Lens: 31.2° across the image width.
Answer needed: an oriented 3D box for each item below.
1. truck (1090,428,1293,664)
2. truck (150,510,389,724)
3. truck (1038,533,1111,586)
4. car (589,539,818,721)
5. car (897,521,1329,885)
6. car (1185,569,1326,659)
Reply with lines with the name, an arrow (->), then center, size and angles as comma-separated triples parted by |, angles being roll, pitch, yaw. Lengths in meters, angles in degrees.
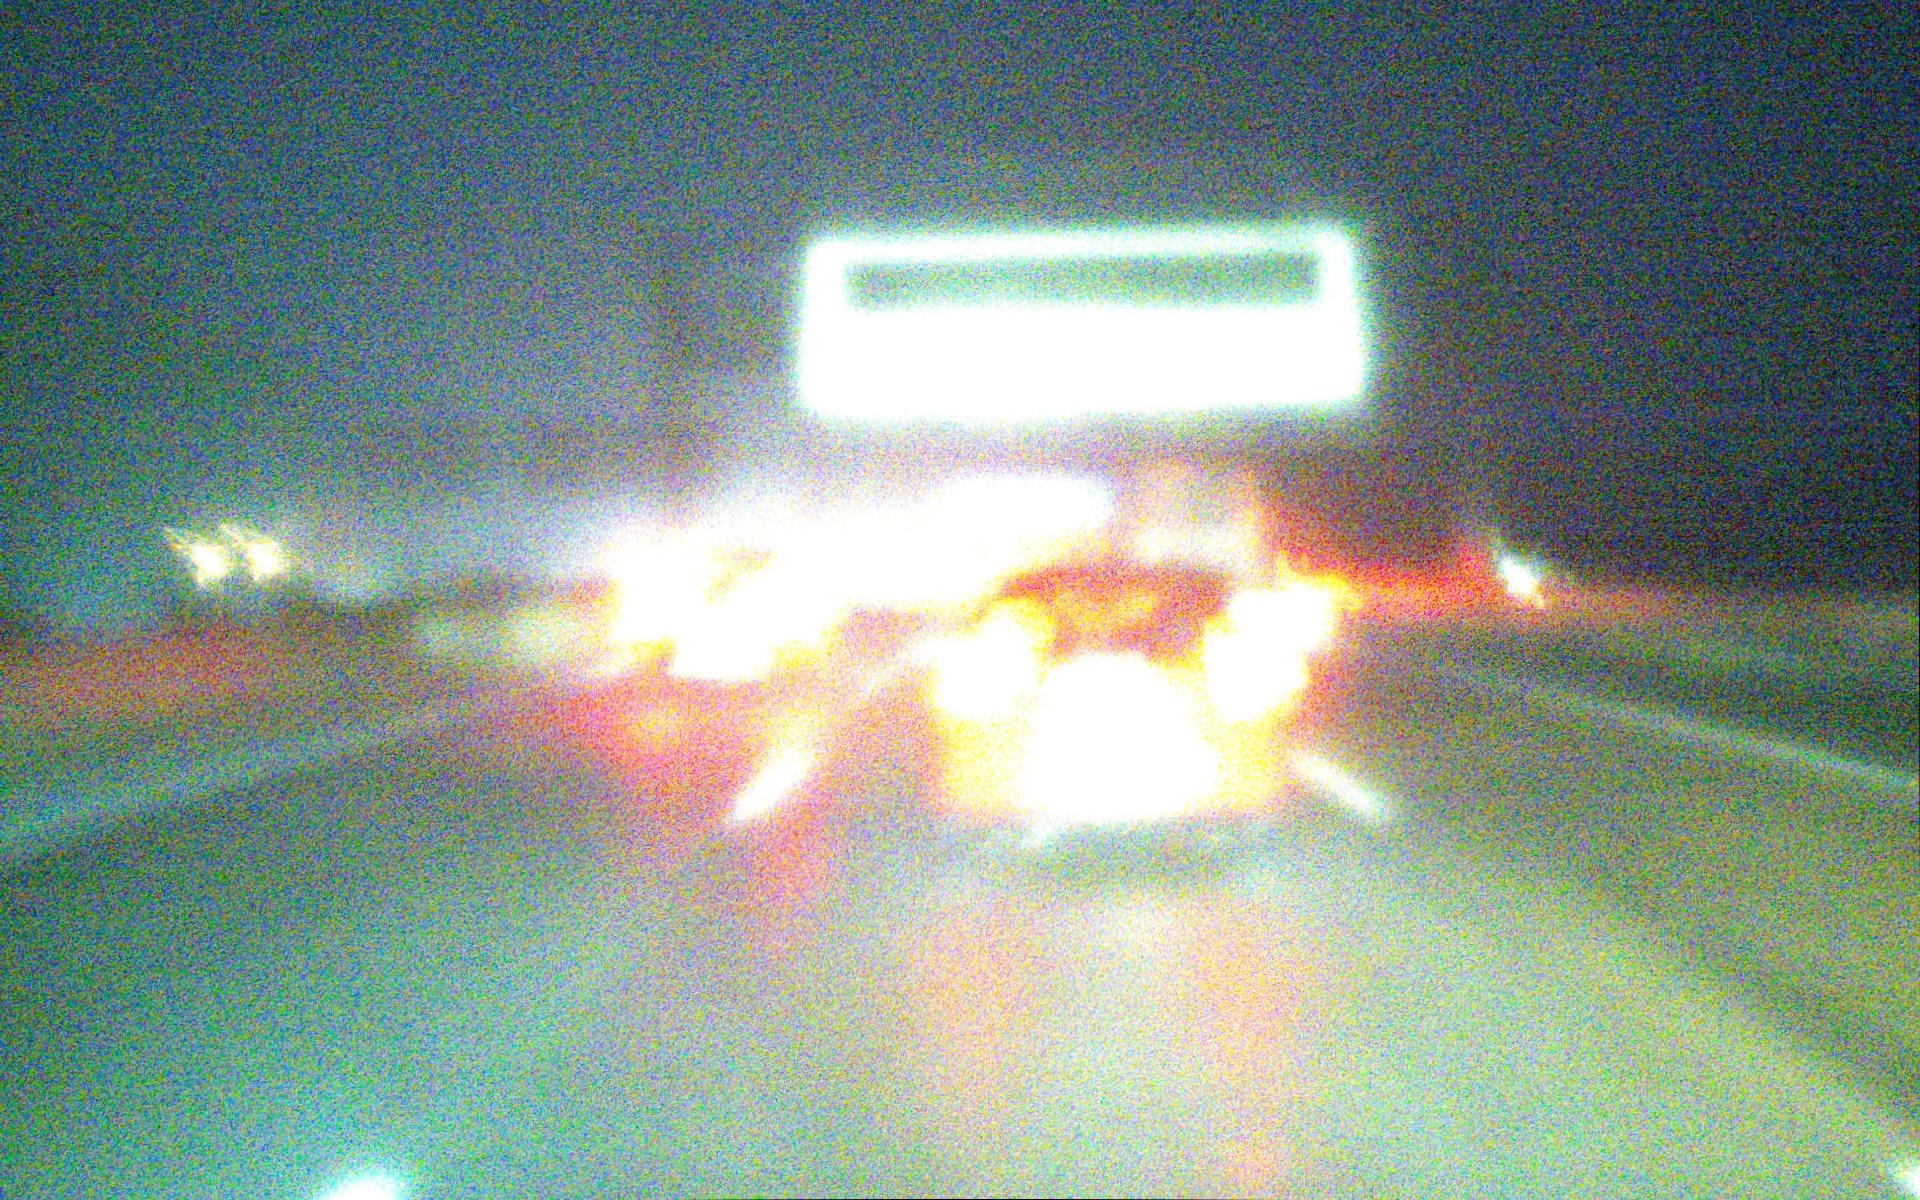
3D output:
truck -> 5.823, -1.349, 89.349 | 4.167, 5.525, 13.075 | -2, 0, 0
truck -> -19.109, 0.355, 96.184 | 3.842, 5.525, 12.210 | 1, 1, 1
truck -> 6.845, -2.415, 207.302 | 3.835, 3.045, 11.006 | 1, 1, -1
car -> -2.707, 0.278, 37.351 | 1.993, 1.771, 4.887 | -2, 0, 1
car -> 0.703, 0.451, 17.842 | 1.916, 1.589, 4.233 | -2, 0, 0
car -> 4.797, 0.210, 56.276 | 1.889, 1.349, 4.000 | 1, 1, -1
